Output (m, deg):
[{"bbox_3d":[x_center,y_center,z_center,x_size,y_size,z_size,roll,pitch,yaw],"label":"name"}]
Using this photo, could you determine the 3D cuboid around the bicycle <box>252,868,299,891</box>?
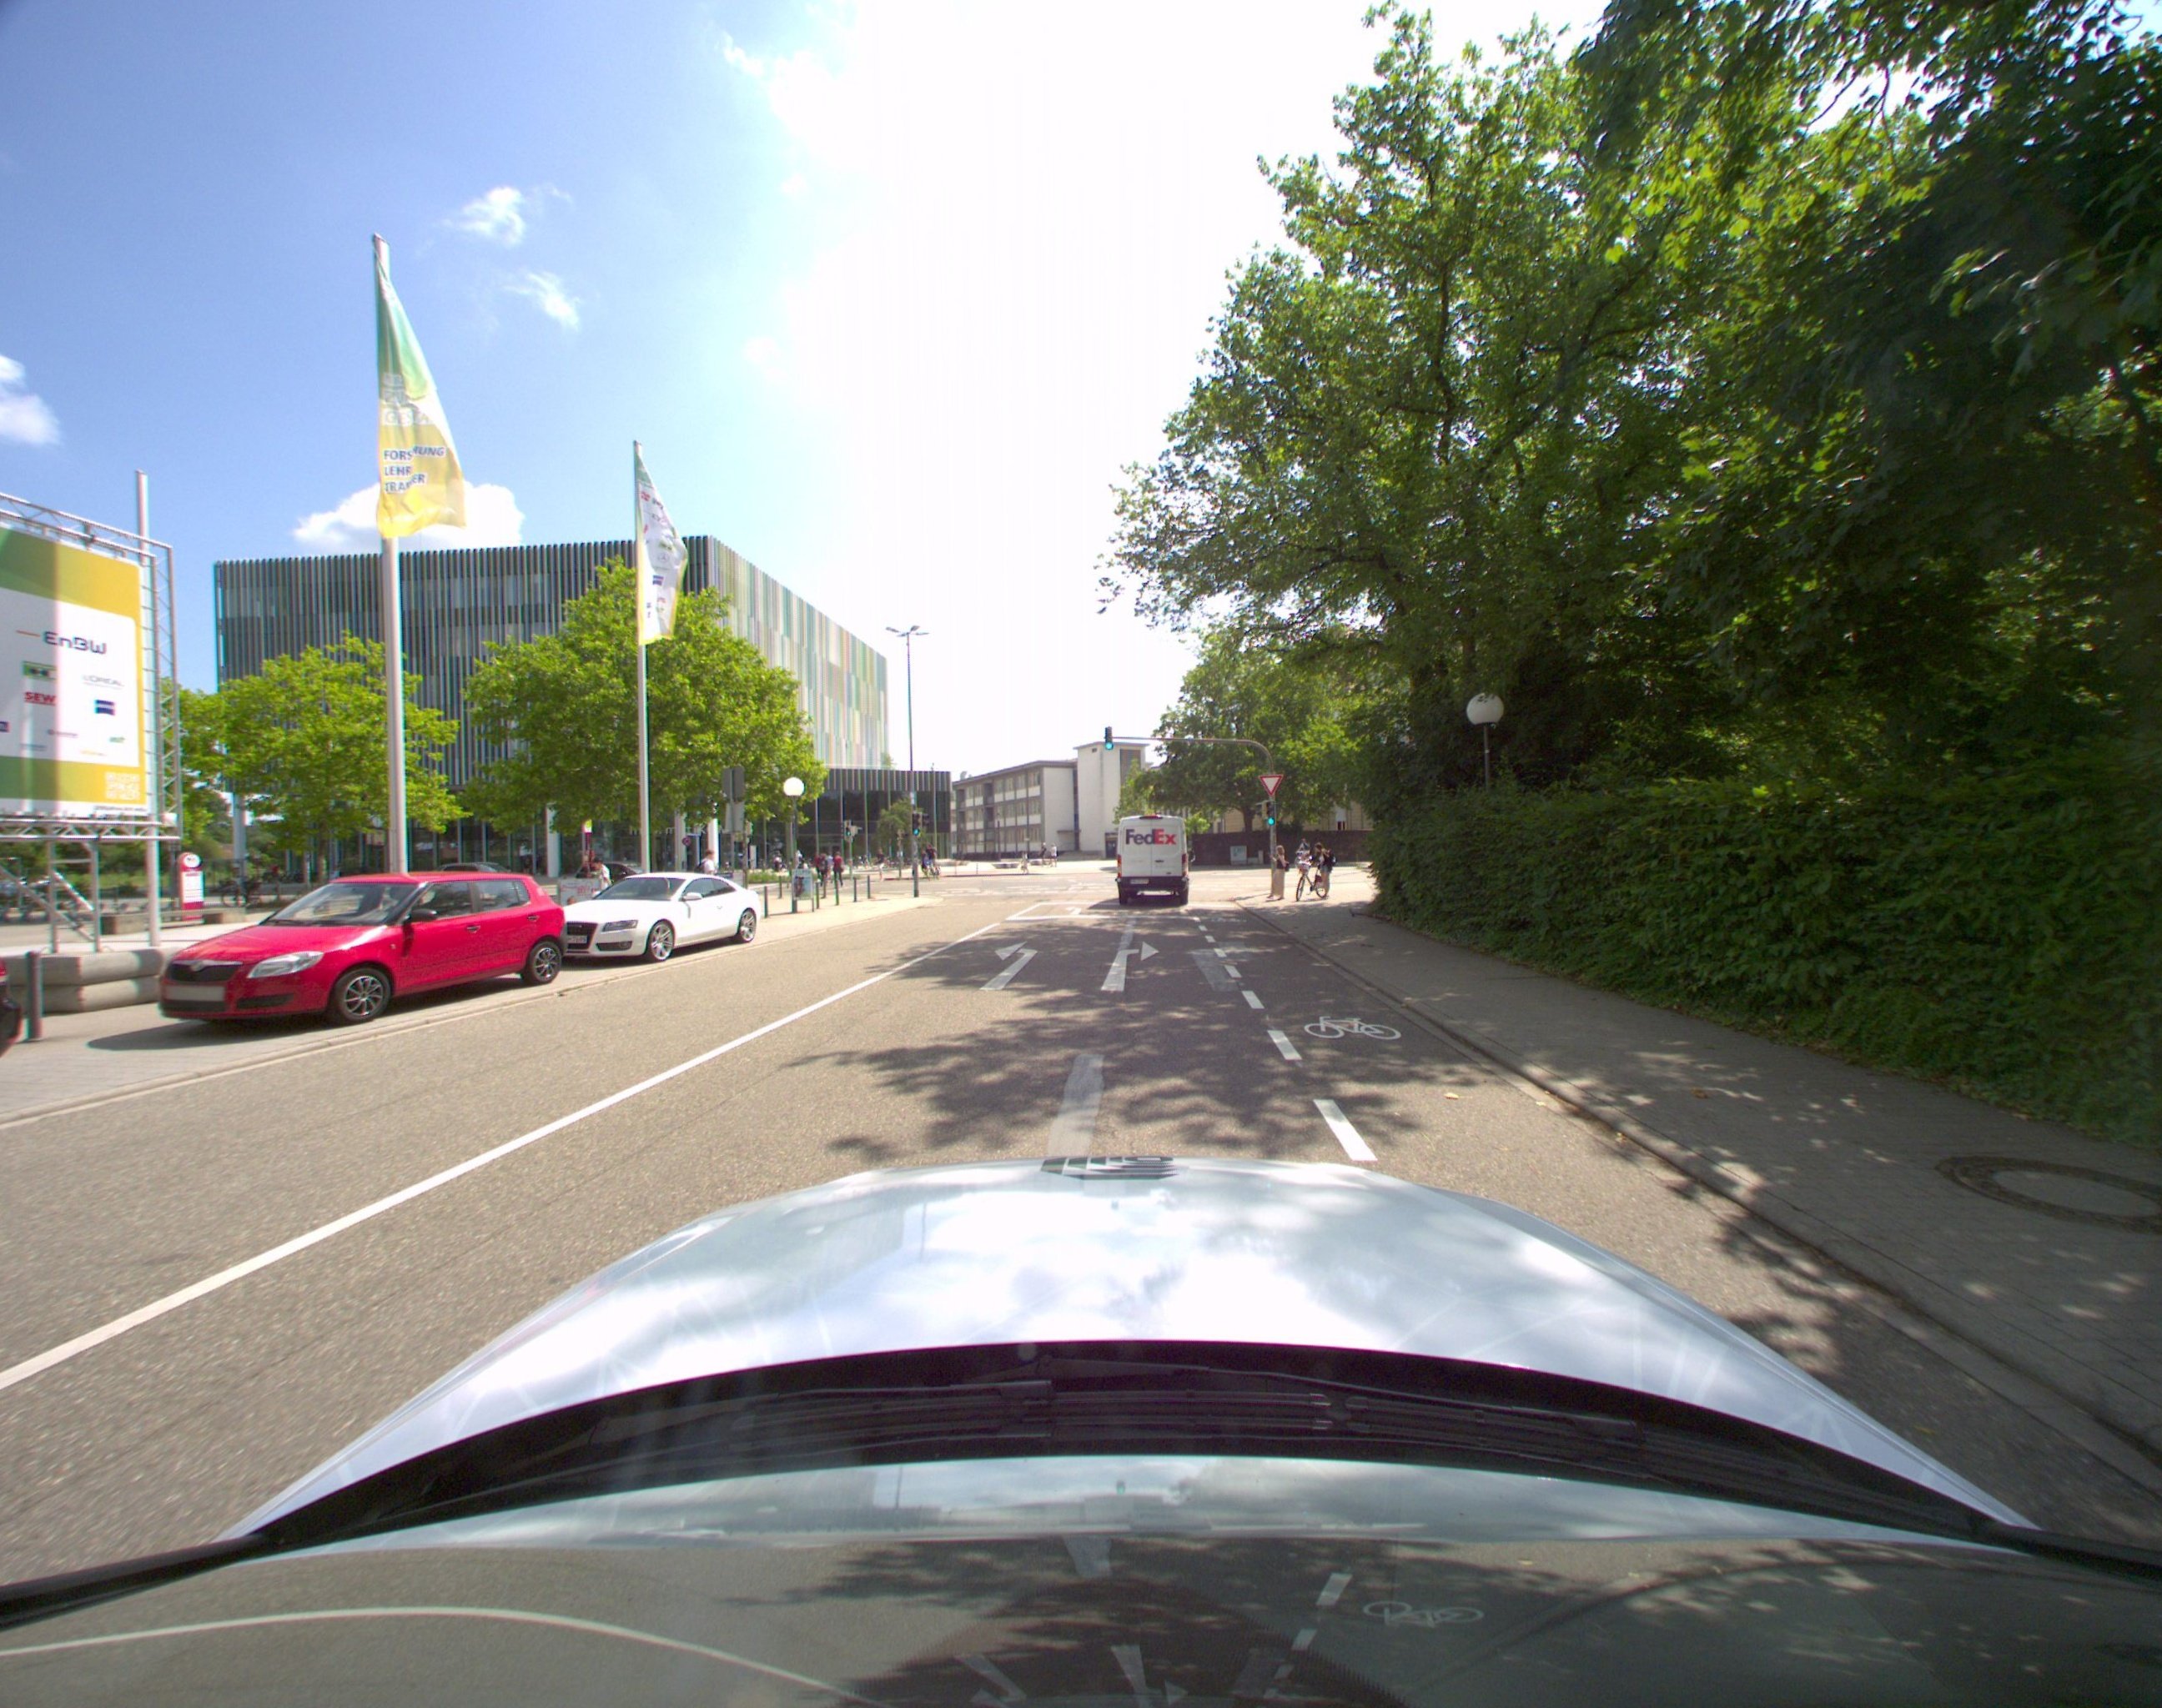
[{"bbox_3d":[-69.802,2.186,70.630,0.954,1.838,2.956,-1,0,5],"label":"bicycle"}]

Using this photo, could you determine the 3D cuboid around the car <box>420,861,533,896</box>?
[{"bbox_3d":[-31.273,1.255,42.195,4.785,1.661,1.655,-2,0,5],"label":"car"}]

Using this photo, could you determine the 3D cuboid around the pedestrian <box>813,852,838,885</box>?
[{"bbox_3d":[-13.261,0.752,42.224,0.818,1.654,0.866,-2,1,22],"label":"pedestrian"}]

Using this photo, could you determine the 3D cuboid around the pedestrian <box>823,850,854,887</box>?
[{"bbox_3d":[-12.117,0.703,40.699,0.799,1.807,1.274,-2,0,22],"label":"pedestrian"}]

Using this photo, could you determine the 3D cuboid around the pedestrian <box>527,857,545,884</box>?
[{"bbox_3d":[-47.988,1.422,71.676,0.968,2.345,0.891,-1,0,5],"label":"pedestrian"}]

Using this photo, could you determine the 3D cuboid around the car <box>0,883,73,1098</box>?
[{"bbox_3d":[-8.562,0.963,4.017,1.739,1.467,4.204,1,0,6],"label":"car"}]

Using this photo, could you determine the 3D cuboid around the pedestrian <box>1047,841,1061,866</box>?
[{"bbox_3d":[-2.101,-0.014,63.228,0.866,1.889,0.908,-1,0,-15],"label":"pedestrian"}]

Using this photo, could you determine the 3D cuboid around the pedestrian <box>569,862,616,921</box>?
[{"bbox_3d":[-14.099,1.080,23.508,0.839,1.651,0.747,-1,0,6],"label":"pedestrian"}]

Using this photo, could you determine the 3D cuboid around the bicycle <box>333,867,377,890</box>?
[{"bbox_3d":[-62.406,2.085,70.066,0.981,1.838,2.956,-1,0,5],"label":"bicycle"}]

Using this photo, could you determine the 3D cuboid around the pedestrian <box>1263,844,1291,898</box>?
[{"bbox_3d":[5.964,0.505,24.791,0.726,1.575,0.777,-2,0,9],"label":"pedestrian"}]

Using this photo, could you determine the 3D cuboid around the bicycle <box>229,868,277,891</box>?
[{"bbox_3d":[-71.893,2.180,70.782,0.954,1.838,2.956,-1,0,5],"label":"bicycle"}]

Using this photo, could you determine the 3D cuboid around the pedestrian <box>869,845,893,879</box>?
[{"bbox_3d":[-11.377,0.461,46.370,0.697,1.855,1.404,-2,2,14],"label":"pedestrian"}]

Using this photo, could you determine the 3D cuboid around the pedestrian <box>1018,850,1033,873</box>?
[{"bbox_3d":[-3.782,0.513,55.689,0.826,1.523,0.811,-1,0,-15],"label":"pedestrian"}]

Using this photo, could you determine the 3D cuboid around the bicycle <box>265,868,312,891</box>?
[{"bbox_3d":[-68.628,2.170,70.550,0.954,1.838,2.956,-1,0,5],"label":"bicycle"}]

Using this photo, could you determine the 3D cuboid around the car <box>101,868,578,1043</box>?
[{"bbox_3d":[-7.964,0.949,9.353,1.668,1.467,3.917,1,0,5],"label":"car"}]

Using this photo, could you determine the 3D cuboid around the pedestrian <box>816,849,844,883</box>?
[{"bbox_3d":[-13.592,0.651,44.109,0.853,1.819,1.103,-2,0,28],"label":"pedestrian"}]

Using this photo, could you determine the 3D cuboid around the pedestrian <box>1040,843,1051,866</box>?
[{"bbox_3d":[-2.821,0.024,64.024,0.669,1.815,0.812,-1,0,-15],"label":"pedestrian"}]

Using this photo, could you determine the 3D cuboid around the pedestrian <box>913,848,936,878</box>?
[{"bbox_3d":[-9.788,0.553,50.905,0.822,1.870,1.091,-2,0,28],"label":"pedestrian"}]

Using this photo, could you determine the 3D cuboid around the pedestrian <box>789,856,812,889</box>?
[{"bbox_3d":[-13.719,0.891,39.872,0.766,1.597,0.800,-2,0,6],"label":"pedestrian"}]

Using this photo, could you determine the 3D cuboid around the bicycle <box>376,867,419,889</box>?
[{"bbox_3d":[-58.410,2.031,69.610,0.954,1.838,2.956,-1,0,6],"label":"bicycle"}]

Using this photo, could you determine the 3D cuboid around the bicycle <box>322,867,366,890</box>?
[{"bbox_3d":[-63.475,2.100,70.165,0.954,1.838,2.956,-1,0,5],"label":"bicycle"}]

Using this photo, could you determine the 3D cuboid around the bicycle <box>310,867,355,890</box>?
[{"bbox_3d":[-64.547,2.115,70.243,0.954,1.838,2.956,-1,0,5],"label":"bicycle"}]

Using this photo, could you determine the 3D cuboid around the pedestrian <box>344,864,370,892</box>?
[{"bbox_3d":[-57.686,1.879,64.883,0.968,2.176,1.130,-1,0,4],"label":"pedestrian"}]

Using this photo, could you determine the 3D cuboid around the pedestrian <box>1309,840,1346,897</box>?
[{"bbox_3d":[7.163,0.426,23.683,0.729,1.576,0.726,-4,-1,-2],"label":"pedestrian"}]

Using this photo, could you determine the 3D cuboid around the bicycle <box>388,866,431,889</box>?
[{"bbox_3d":[-57.257,2.016,69.505,0.954,1.838,2.957,-1,0,7],"label":"bicycle"}]

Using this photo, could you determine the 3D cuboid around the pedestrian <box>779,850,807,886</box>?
[{"bbox_3d":[-15.087,0.732,42.631,0.844,1.876,1.012,-2,0,27],"label":"pedestrian"}]

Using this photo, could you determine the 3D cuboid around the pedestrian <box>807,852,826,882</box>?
[{"bbox_3d":[-15.503,0.756,47.732,0.750,1.678,0.756,-2,0,3],"label":"pedestrian"}]

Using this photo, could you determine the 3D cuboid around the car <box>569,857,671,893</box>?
[{"bbox_3d":[-23.539,1.044,41.669,4.260,1.661,1.656,-2,1,5],"label":"car"}]

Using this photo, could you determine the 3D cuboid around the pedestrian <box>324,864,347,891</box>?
[{"bbox_3d":[-61.065,1.901,66.725,0.968,2.201,1.016,-1,0,5],"label":"pedestrian"}]

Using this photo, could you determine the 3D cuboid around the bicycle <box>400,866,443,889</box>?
[{"bbox_3d":[-56.132,2.001,69.390,0.954,1.838,2.957,-1,0,7],"label":"bicycle"}]

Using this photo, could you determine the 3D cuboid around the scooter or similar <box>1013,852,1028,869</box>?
[{"bbox_3d":[-4.466,0.496,59.969,0.717,1.178,2.714,-1,1,-12],"label":"scooter or similar"}]

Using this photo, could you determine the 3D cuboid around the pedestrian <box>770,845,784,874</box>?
[{"bbox_3d":[-27.476,0.473,73.616,0.979,2.565,1.004,-1,0,-31],"label":"pedestrian"}]

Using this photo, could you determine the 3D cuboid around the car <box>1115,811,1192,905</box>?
[{"bbox_3d":[2.179,0.090,25.049,2.086,2.566,5.609,0,1,4],"label":"car"}]

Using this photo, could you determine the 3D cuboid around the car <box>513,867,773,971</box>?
[{"bbox_3d":[-7.318,0.983,14.286,1.668,1.395,4.669,1,0,5],"label":"car"}]

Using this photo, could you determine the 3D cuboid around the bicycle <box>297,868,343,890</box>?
[{"bbox_3d":[-65.688,2.130,70.356,0.954,1.838,2.956,-1,0,5],"label":"bicycle"}]

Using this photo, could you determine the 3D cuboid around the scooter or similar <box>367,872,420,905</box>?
[{"bbox_3d":[-25.343,1.269,30.026,1.718,1.196,0.495,-1,0,10],"label":"scooter or similar"}]

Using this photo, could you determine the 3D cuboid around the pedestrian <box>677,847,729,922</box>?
[{"bbox_3d":[-9.606,0.750,20.739,0.715,1.851,1.091,0,0,8],"label":"pedestrian"}]

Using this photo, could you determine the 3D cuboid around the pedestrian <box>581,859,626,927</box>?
[{"bbox_3d":[-13.365,1.087,22.823,0.716,1.859,0.771,-1,0,6],"label":"pedestrian"}]

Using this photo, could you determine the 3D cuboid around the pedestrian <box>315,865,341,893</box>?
[{"bbox_3d":[-59.463,1.941,64.300,0.968,2.176,1.130,-1,0,5],"label":"pedestrian"}]
